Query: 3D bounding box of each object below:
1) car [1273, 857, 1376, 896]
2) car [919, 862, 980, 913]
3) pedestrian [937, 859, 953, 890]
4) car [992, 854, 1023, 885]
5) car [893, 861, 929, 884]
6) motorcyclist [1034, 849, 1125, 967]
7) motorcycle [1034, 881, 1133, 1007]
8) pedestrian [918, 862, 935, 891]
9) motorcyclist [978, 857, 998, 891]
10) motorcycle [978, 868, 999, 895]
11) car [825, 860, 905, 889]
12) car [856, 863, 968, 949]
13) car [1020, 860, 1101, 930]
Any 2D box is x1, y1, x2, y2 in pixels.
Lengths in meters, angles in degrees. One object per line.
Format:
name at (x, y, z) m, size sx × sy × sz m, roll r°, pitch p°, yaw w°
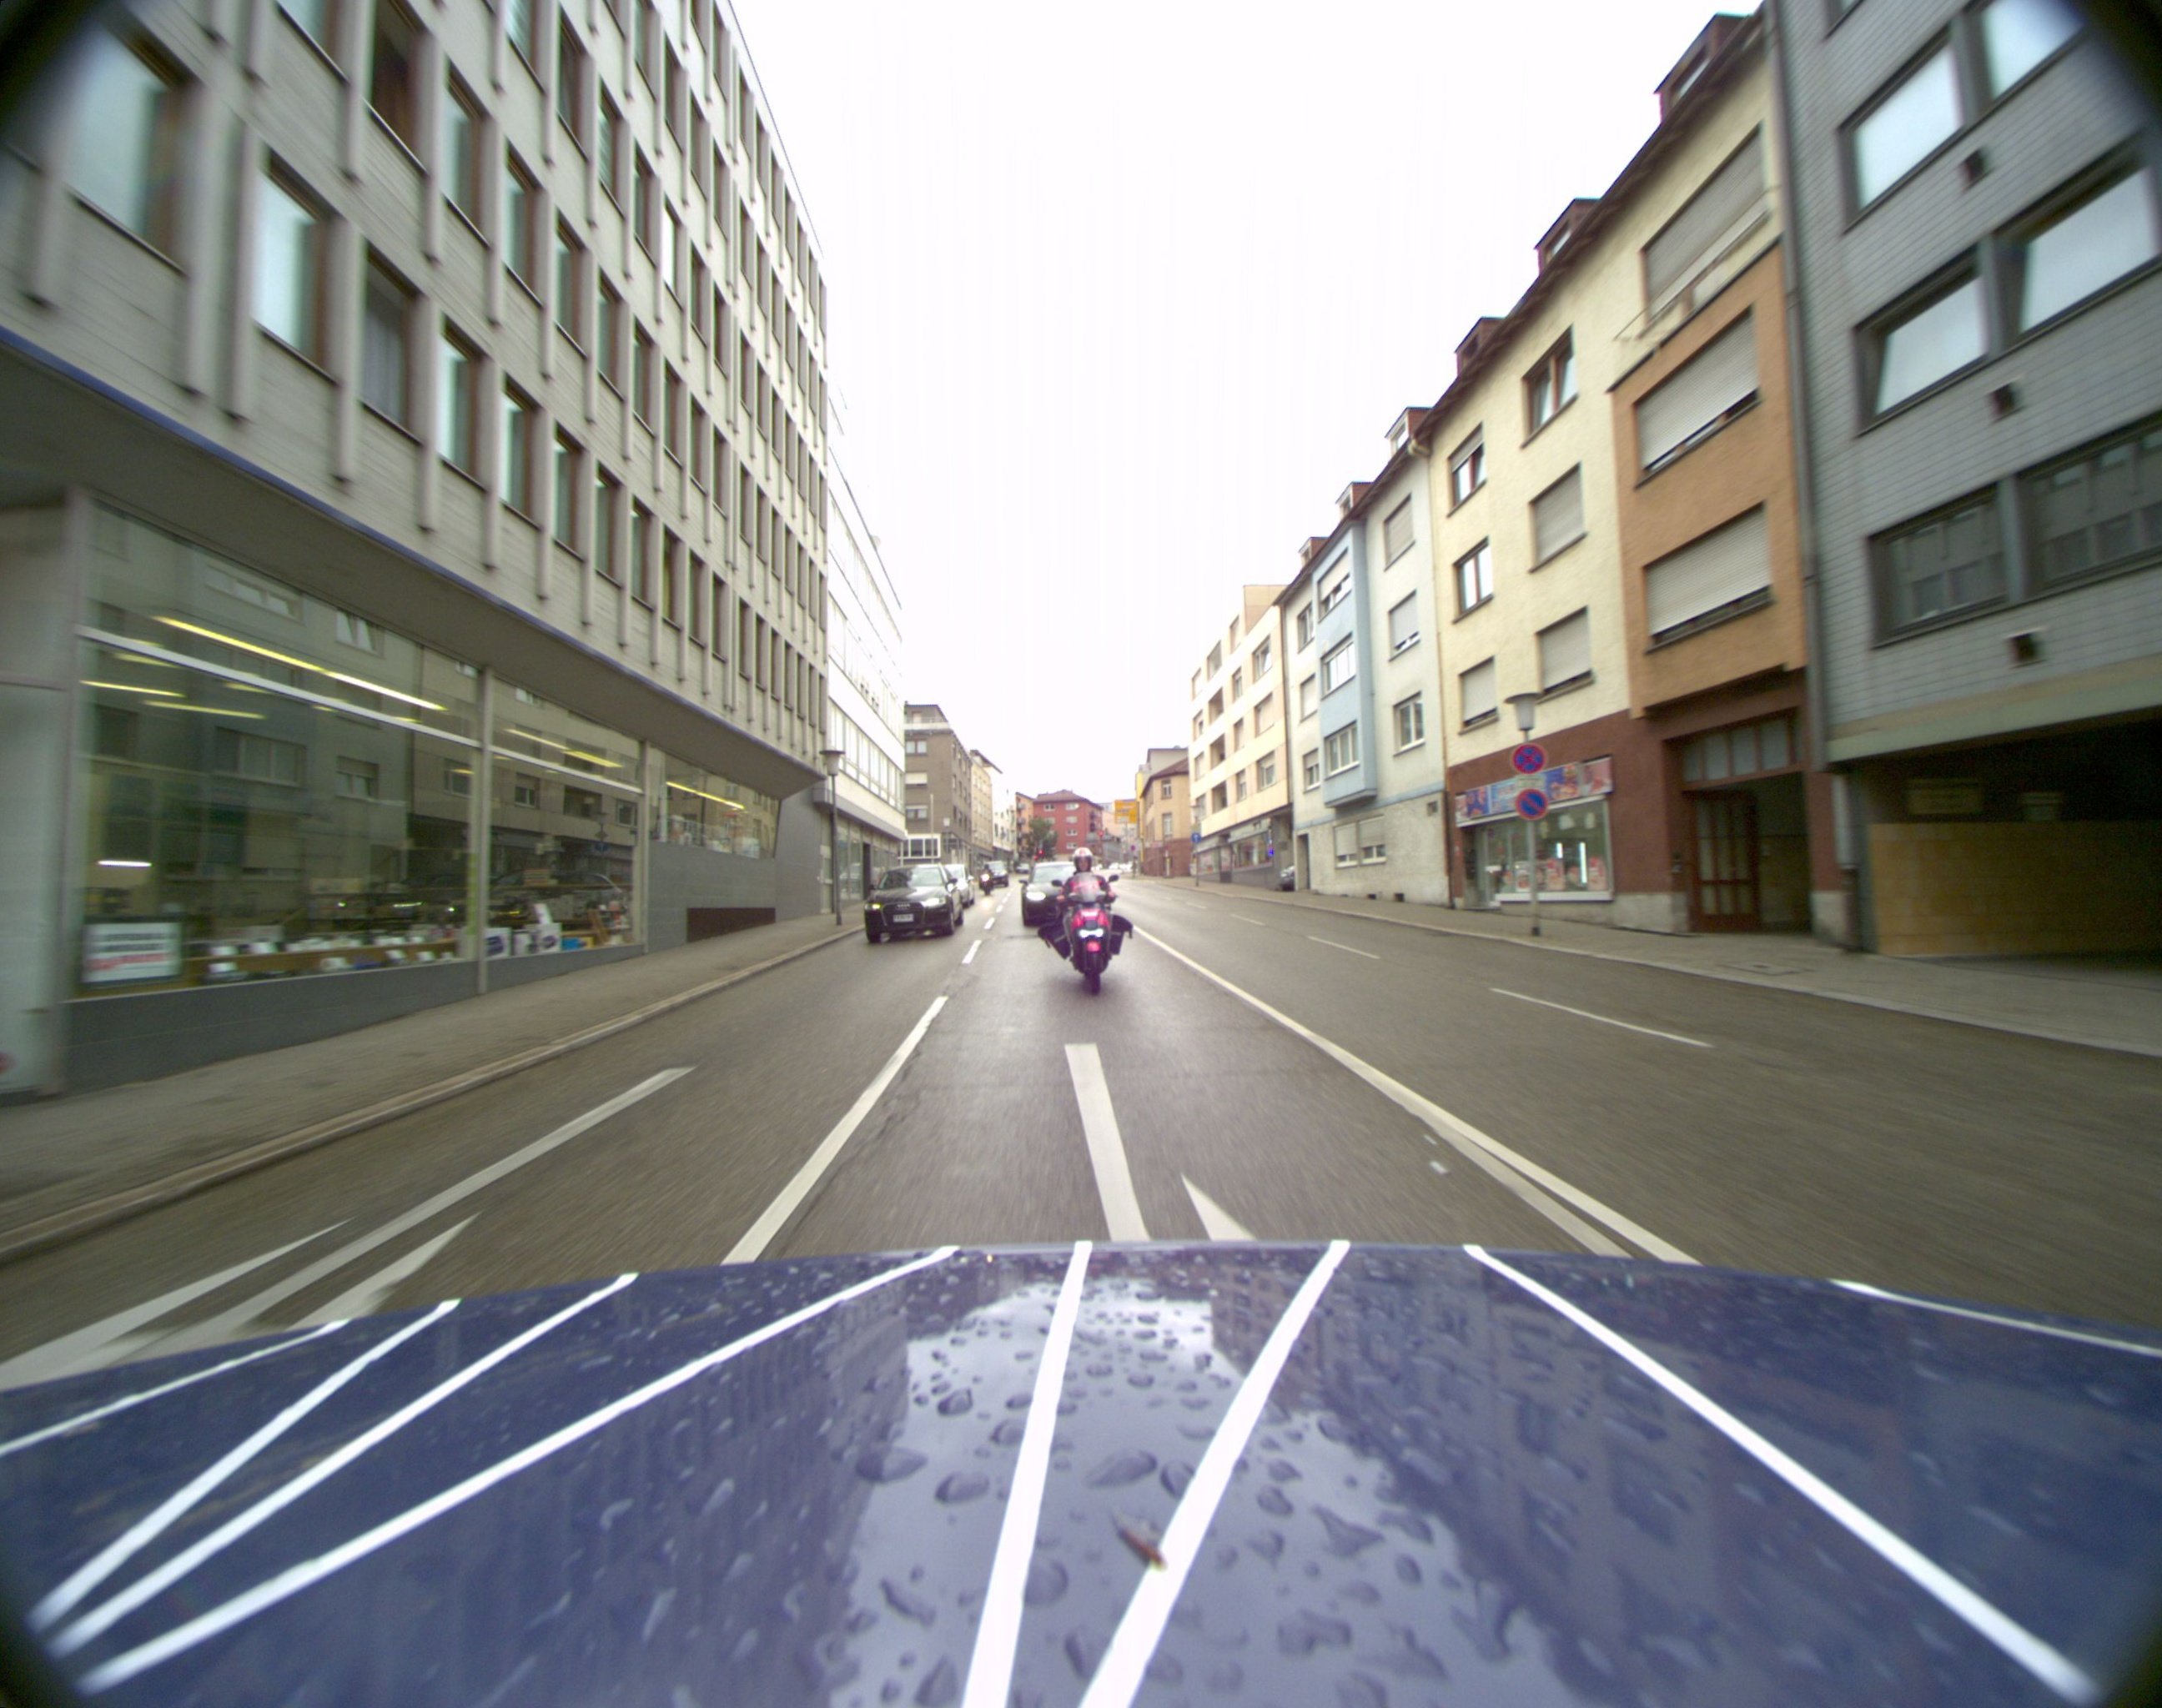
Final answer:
car at (10.848, 1.021, 33.913) m, size 4.001 × 1.341 × 1.678 m, roll 5°, pitch -3°, yaw -10°
car at (-4.735, 1.153, 27.893) m, size 1.832 × 1.532 × 4.250 m, roll -5°, pitch 0°, yaw -7°
pedestrian at (-7.492, 1.129, 41.960) m, size 0.786 × 1.695 × 1.120 m, roll 1°, pitch 1°, yaw -6°
car at (-4.744, 0.971, 49.397) m, size 1.849 × 1.892 × 3.763 m, roll -2°, pitch 0°, yaw -5°
car at (-12.433, 1.326, 55.834) m, size 1.793 × 1.503 × 4.436 m, roll -2°, pitch 0°, yaw -2°
motorcyclist at (-0.021, 0.660, 9.700) m, size 1.010 × 1.373 × 0.834 m, roll -4°, pitch 1°, yaw -1°
motorcycle at (0.004, 1.040, 9.740) m, size 1.010 × 1.219 × 2.693 m, roll -4°, pitch 0°, yaw -1°
pedestrian at (-8.257, 1.185, 40.607) m, size 0.768 × 1.542 × 0.890 m, roll 1°, pitch 1°, yaw -6°
motorcyclist at (-4.593, 0.990, 37.387) m, size 0.847 × 1.580 × 0.962 m, roll -4°, pitch 1°, yaw -8°
motorcycle at (-4.575, 1.325, 37.426) m, size 0.847 × 1.219 × 2.371 m, roll -4°, pitch 0°, yaw -8°
car at (-11.618, 1.101, 40.800) m, size 4.004 × 1.441 × 1.796 m, roll 2°, pitch -1°, yaw -20°
car at (-3.698, 1.061, 17.334) m, size 1.828 × 1.551 × 4.199 m, roll -4°, pitch 0°, yaw -5°
car at (-0.622, 0.939, 19.279) m, size 1.706 × 1.451 × 4.316 m, roll -4°, pitch 0°, yaw -5°
